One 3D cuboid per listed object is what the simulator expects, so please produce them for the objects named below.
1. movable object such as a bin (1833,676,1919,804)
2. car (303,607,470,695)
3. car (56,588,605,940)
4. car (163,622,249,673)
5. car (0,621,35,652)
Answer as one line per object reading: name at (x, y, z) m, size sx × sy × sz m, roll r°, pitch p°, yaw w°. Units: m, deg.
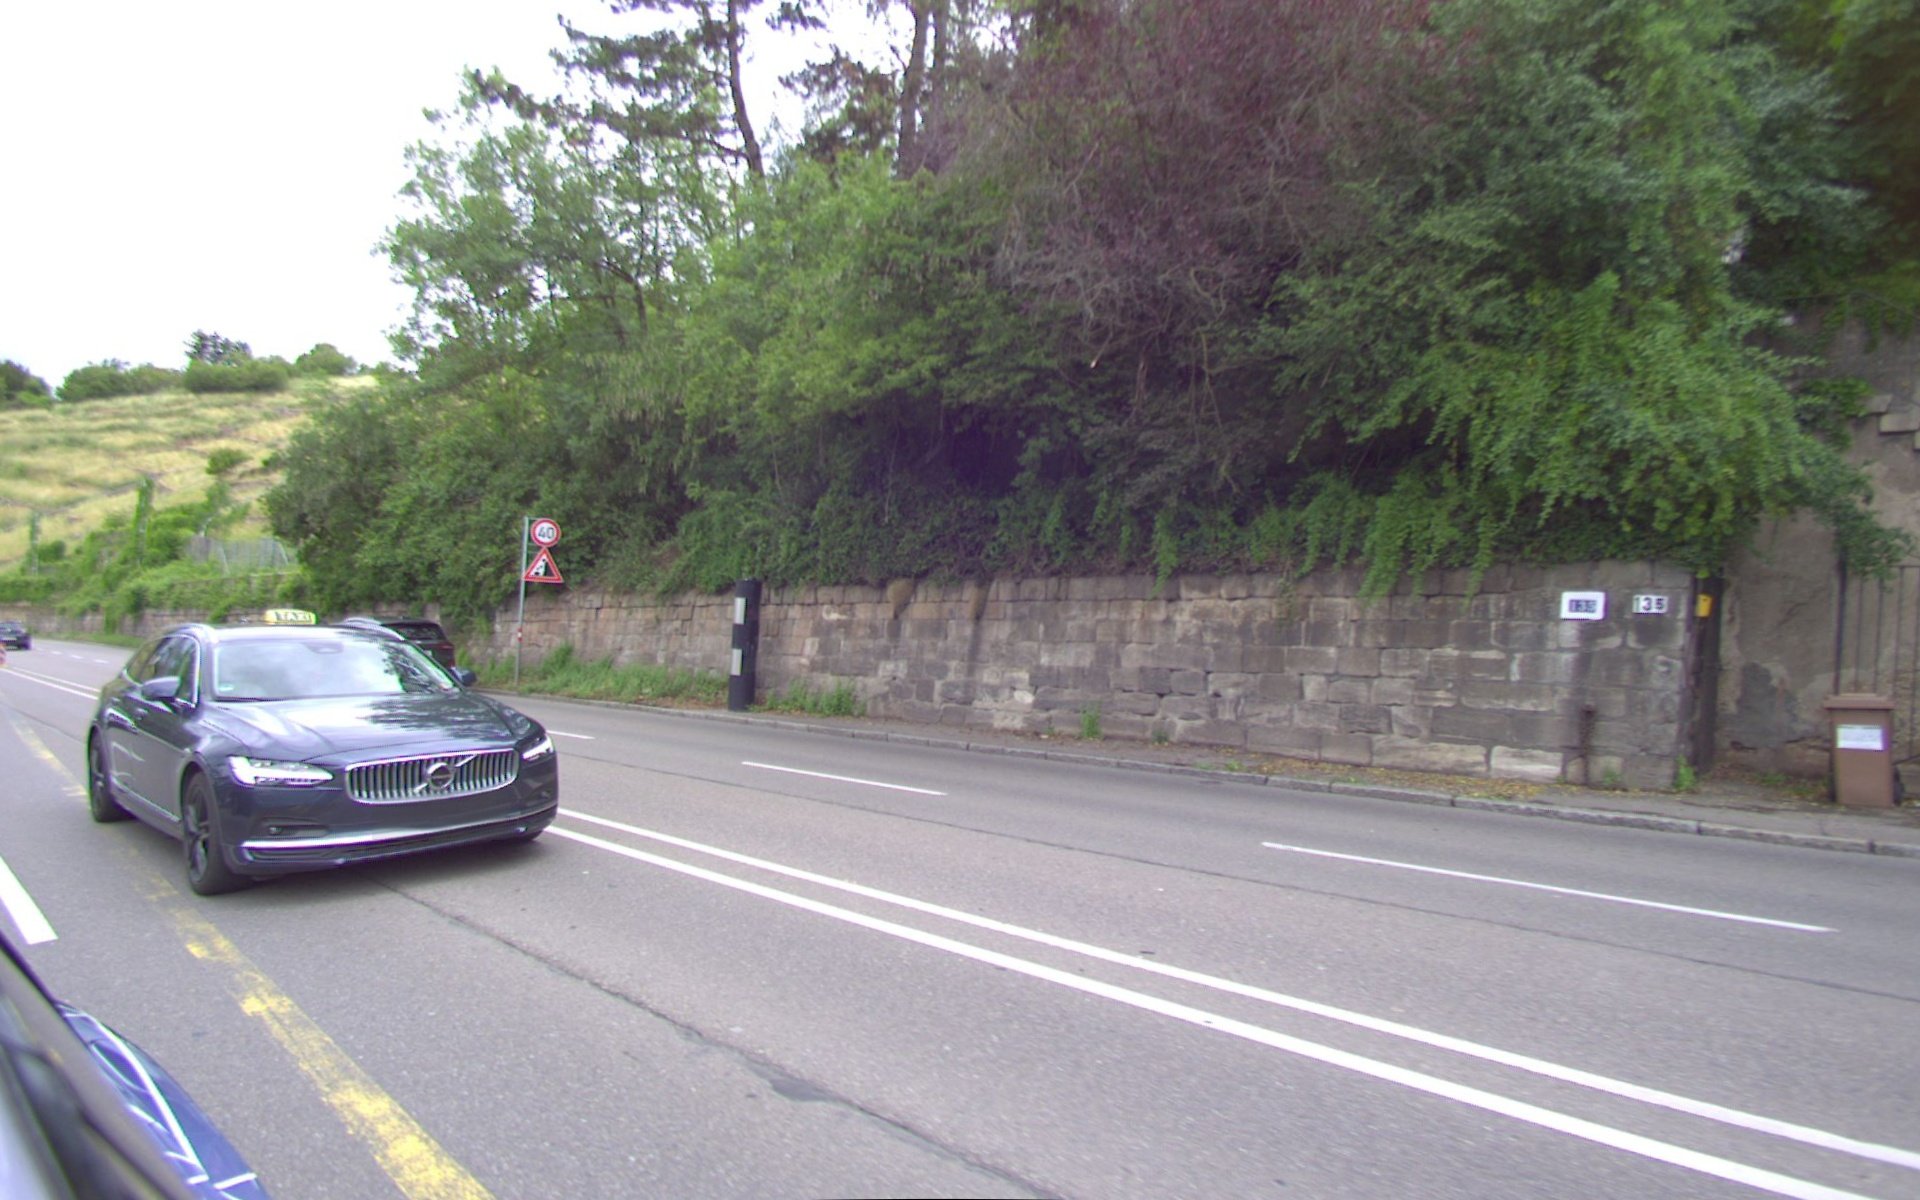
movable object such as a bin at (7.506, 1.128, 8.304) m, size 0.473 × 0.973 × 0.512 m, roll -1°, pitch -3°, yaw 38°
car at (-12.524, 1.042, 21.980) m, size 4.468 × 1.710 × 1.796 m, roll -1°, pitch -2°, yaw 42°
car at (-4.607, 0.780, 6.987) m, size 5.025 × 1.588 × 1.914 m, roll -1°, pitch -1°, yaw 42°
car at (-23.771, 1.444, 31.868) m, size 3.523 × 1.472 × 1.566 m, roll -1°, pitch -1°, yaw 42°
car at (-46.492, 1.745, 49.129) m, size 4.293 × 1.457 × 1.837 m, roll -1°, pitch -2°, yaw 41°
